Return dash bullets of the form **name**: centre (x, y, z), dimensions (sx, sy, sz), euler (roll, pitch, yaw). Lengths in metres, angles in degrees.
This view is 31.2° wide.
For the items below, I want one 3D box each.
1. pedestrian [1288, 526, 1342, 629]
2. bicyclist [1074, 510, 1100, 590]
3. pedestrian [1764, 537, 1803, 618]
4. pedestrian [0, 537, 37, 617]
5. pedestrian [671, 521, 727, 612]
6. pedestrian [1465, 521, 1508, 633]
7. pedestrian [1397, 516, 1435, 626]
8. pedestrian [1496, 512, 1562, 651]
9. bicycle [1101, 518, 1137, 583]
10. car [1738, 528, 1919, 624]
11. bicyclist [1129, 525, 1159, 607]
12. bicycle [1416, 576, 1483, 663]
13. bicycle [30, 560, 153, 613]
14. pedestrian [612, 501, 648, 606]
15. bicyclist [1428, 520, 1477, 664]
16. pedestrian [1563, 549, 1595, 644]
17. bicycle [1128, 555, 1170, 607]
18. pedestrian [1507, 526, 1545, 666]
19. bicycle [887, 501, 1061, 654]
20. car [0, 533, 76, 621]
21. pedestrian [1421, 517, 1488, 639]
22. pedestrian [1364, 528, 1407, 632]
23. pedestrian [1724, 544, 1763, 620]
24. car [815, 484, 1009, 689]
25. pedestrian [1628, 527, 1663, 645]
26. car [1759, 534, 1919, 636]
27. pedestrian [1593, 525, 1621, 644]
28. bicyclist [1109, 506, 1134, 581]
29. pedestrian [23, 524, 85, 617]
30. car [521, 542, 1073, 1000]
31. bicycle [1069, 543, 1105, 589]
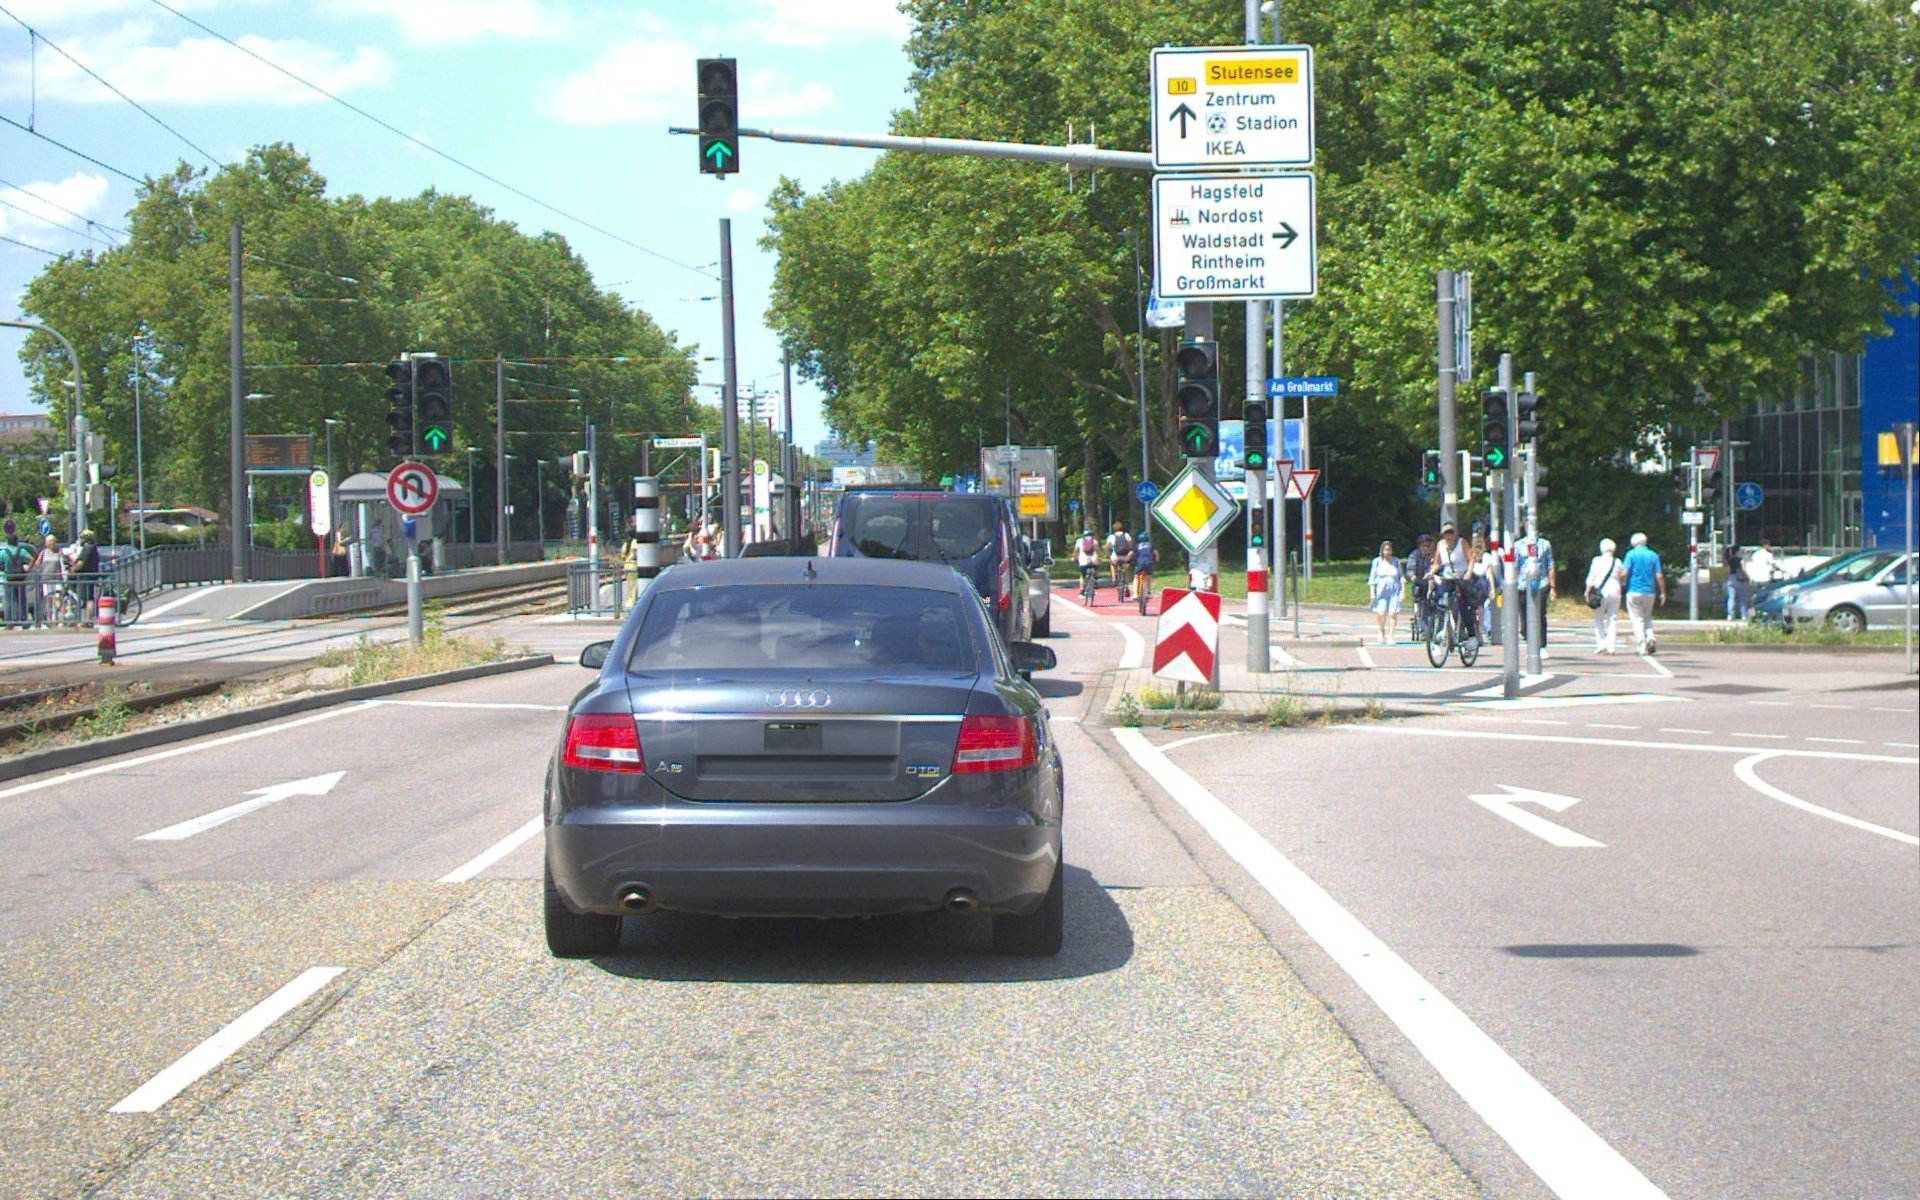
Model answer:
- **pedestrian**: centre (5.223, -0.342, 50.581), dimensions (0.670, 1.498, 0.608), euler (1, 1, 16)
- **bicyclist**: centre (2.858, -1.132, 77.617), dimensions (0.528, 1.783, 1.088), euler (0, 1, 0)
- **pedestrian**: centre (16.902, -0.466, 70.569), dimensions (0.705, 1.629, 0.611), euler (1, 1, 18)
- **pedestrian**: centre (-17.050, -0.423, 62.008), dimensions (0.685, 1.438, 0.573), euler (0, 1, -4)
- **pedestrian**: centre (-4.539, -0.587, 59.807), dimensions (0.742, 1.550, 0.607), euler (1, 1, 37)
- **pedestrian**: centre (7.681, -0.338, 50.201), dimensions (0.554, 1.629, 0.433), euler (1, 1, 2)
- **pedestrian**: centre (6.974, -0.450, 52.601), dimensions (0.521, 1.664, 0.494), euler (1, 1, 2)
- **pedestrian**: centre (7.624, -0.252, 46.087), dimensions (0.685, 1.840, 0.706), euler (1, 1, 25)
- **bicycle**: centre (3.775, -1.191, 81.731), dimensions (0.687, 1.514, 2.752), euler (1, 1, 0)
- **car**: centre (14.876, -0.394, 56.379), dimensions (3.789, 1.481, 2.000), euler (2, 1, 3)
- **bicyclist**: centre (3.805, -0.707, 71.121), dimensions (0.528, 1.670, 1.088), euler (0, 1, -1)
- **bicycle**: centre (6.082, 0.229, 42.629), dimensions (0.660, 1.018, 1.860), euler (1, 1, 13)
- **bicycle**: centre (-15.435, -0.248, 61.133), dimensions (2.055, 0.922, 0.753), euler (0, 1, -10)
- **pedestrian**: centre (-6.344, -0.903, 66.140), dimensions (0.685, 2.007, 0.573), euler (0, 1, -5)
- **bicyclist**: centre (6.100, -0.107, 42.588), dimensions (0.529, 1.758, 0.827), euler (0, 1, 13)
- **pedestrian**: centre (8.564, -0.052, 47.593), dimensions (0.372, 1.299, 0.365), euler (1, 1, 2)
- **bicycle**: centre (3.887, -0.403, 70.995), dimensions (0.687, 1.002, 2.752), euler (1, 1, 0)
- **pedestrian**: centre (6.643, -0.054, 40.356), dimensions (0.381, 1.629, 0.377), euler (1, 1, 2)
- **bicycle**: centre (0.236, -0.335, 47.560), dimensions (1.994, 2.007, 3.999), euler (1, 1, 6)
- **car**: centre (-19.250, -0.494, 68.831), dimensions (1.822, 1.664, 4.461), euler (1, 1, 2)
- **pedestrian**: centre (6.687, -0.306, 46.480), dimensions (0.714, 1.629, 0.706), euler (1, 1, 25)
- **pedestrian**: centre (6.243, -0.295, 50.428), dimensions (0.494, 1.514, 0.706), euler (1, 1, 17)
- **pedestrian**: centre (16.150, -0.378, 70.855), dimensions (0.705, 1.539, 0.677), euler (1, 1, 18)
- **car**: centre (-0.492, -0.165, 34.667), dimensions (1.836, 1.943, 4.000), euler (0, 1, -1)
- **pedestrian**: centre (9.490, -0.199, 47.589), dimensions (0.398, 1.629, 0.371), euler (1, 1, 2)
- **car**: centre (14.808, -0.215, 53.059), dimensions (4.497, 1.481, 2.000), euler (2, 1, 3)
- **pedestrian**: centre (8.953, -0.219, 47.575), dimensions (0.320, 1.629, 0.377), euler (1, 1, 2)
- **bicyclist**: centre (3.814, -1.339, 81.401), dimensions (0.528, 1.783, 1.088), euler (0, 1, -1)
- **pedestrian**: centre (-17.032, -0.560, 64.666), dimensions (0.824, 1.714, 0.774), euler (1, 1, 21)
- **car**: centre (-0.556, 0.524, 13.220), dimensions (1.792, 1.450, 4.000), euler (0, 2, -1)
- **bicycle**: centre (2.860, -0.782, 77.586), dimensions (0.687, 0.990, 2.752), euler (1, 1, 0)
